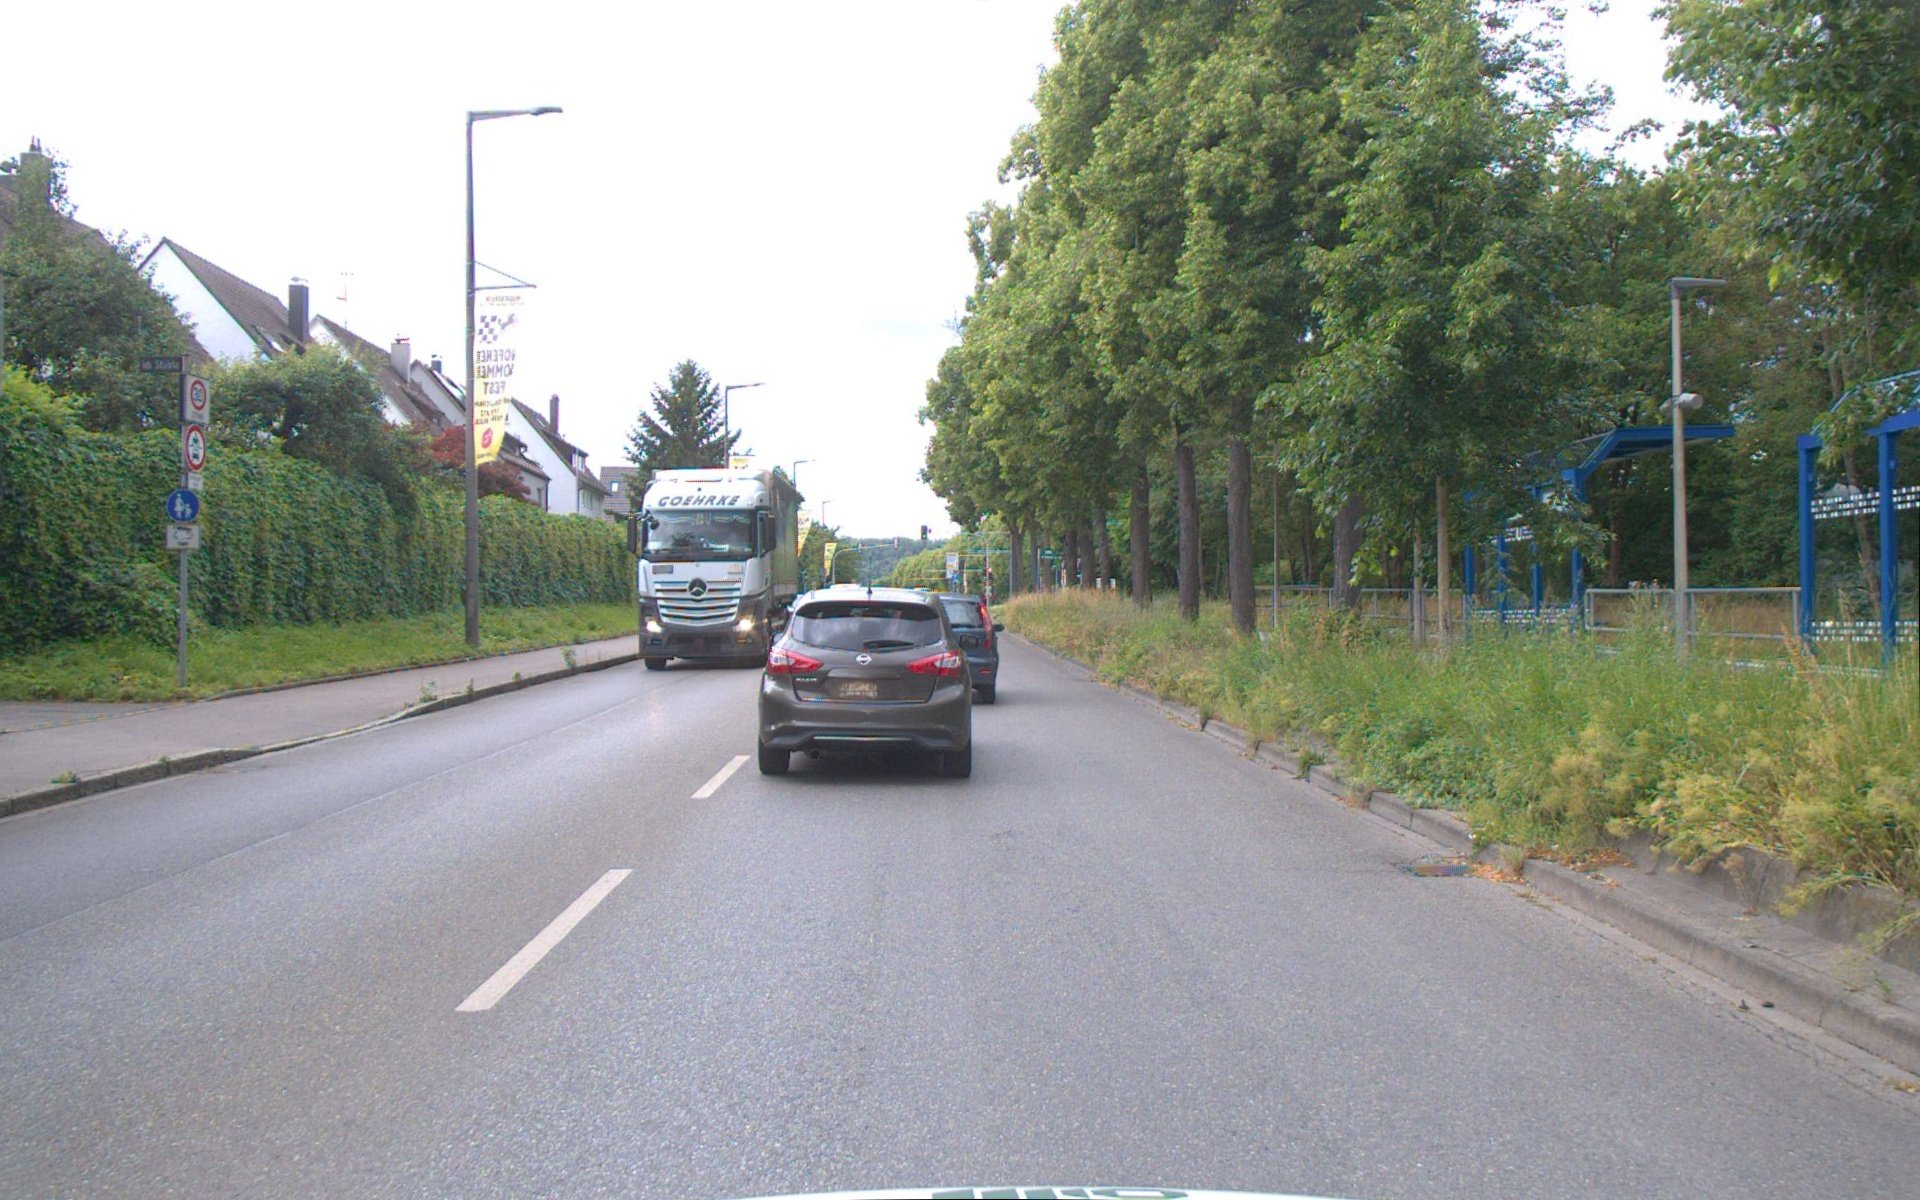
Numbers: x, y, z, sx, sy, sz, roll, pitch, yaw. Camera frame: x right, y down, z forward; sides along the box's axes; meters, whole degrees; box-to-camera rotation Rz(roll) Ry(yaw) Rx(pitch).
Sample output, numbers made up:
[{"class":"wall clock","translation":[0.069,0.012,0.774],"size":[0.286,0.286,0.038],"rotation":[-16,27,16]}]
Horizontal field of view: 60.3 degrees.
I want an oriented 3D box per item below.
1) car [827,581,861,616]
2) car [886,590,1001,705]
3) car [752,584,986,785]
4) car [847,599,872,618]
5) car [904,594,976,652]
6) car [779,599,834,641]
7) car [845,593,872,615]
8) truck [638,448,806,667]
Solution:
[{"class":"car","translation":[-6.652,-0.064,95.538],"size":[1.869,1.966,4.907],"rotation":[0,-1,-3]},{"class":"car","translation":[-0.253,0.625,23.901],"size":[1.507,1.504,3.763],"rotation":[-1,0,-1]},{"class":"car","translation":[-0.745,0.637,14.970],"size":[1.798,1.545,4.481],"rotation":[0,0,-1]},{"class":"car","translation":[-7.562,0.637,124.665],"size":[1.848,1.407,4.488],"rotation":[-1,0,-3]},{"class":"car","translation":[-0.533,0.552,42.269],"size":[1.756,1.421,3.999],"rotation":[0,0,-1]},{"class":"car","translation":[-5.452,0.699,59.109],"size":[1.698,1.399,4.238],"rotation":[-1,0,-2]},{"class":"car","translation":[-6.850,0.253,111.961],"size":[1.617,1.371,4.476],"rotation":[-1,0,-2]},{"class":"truck","translation":[-5.052,-0.785,37.032],"size":[2.499,4.114,10.615],"rotation":[-2,0,-2]}]
